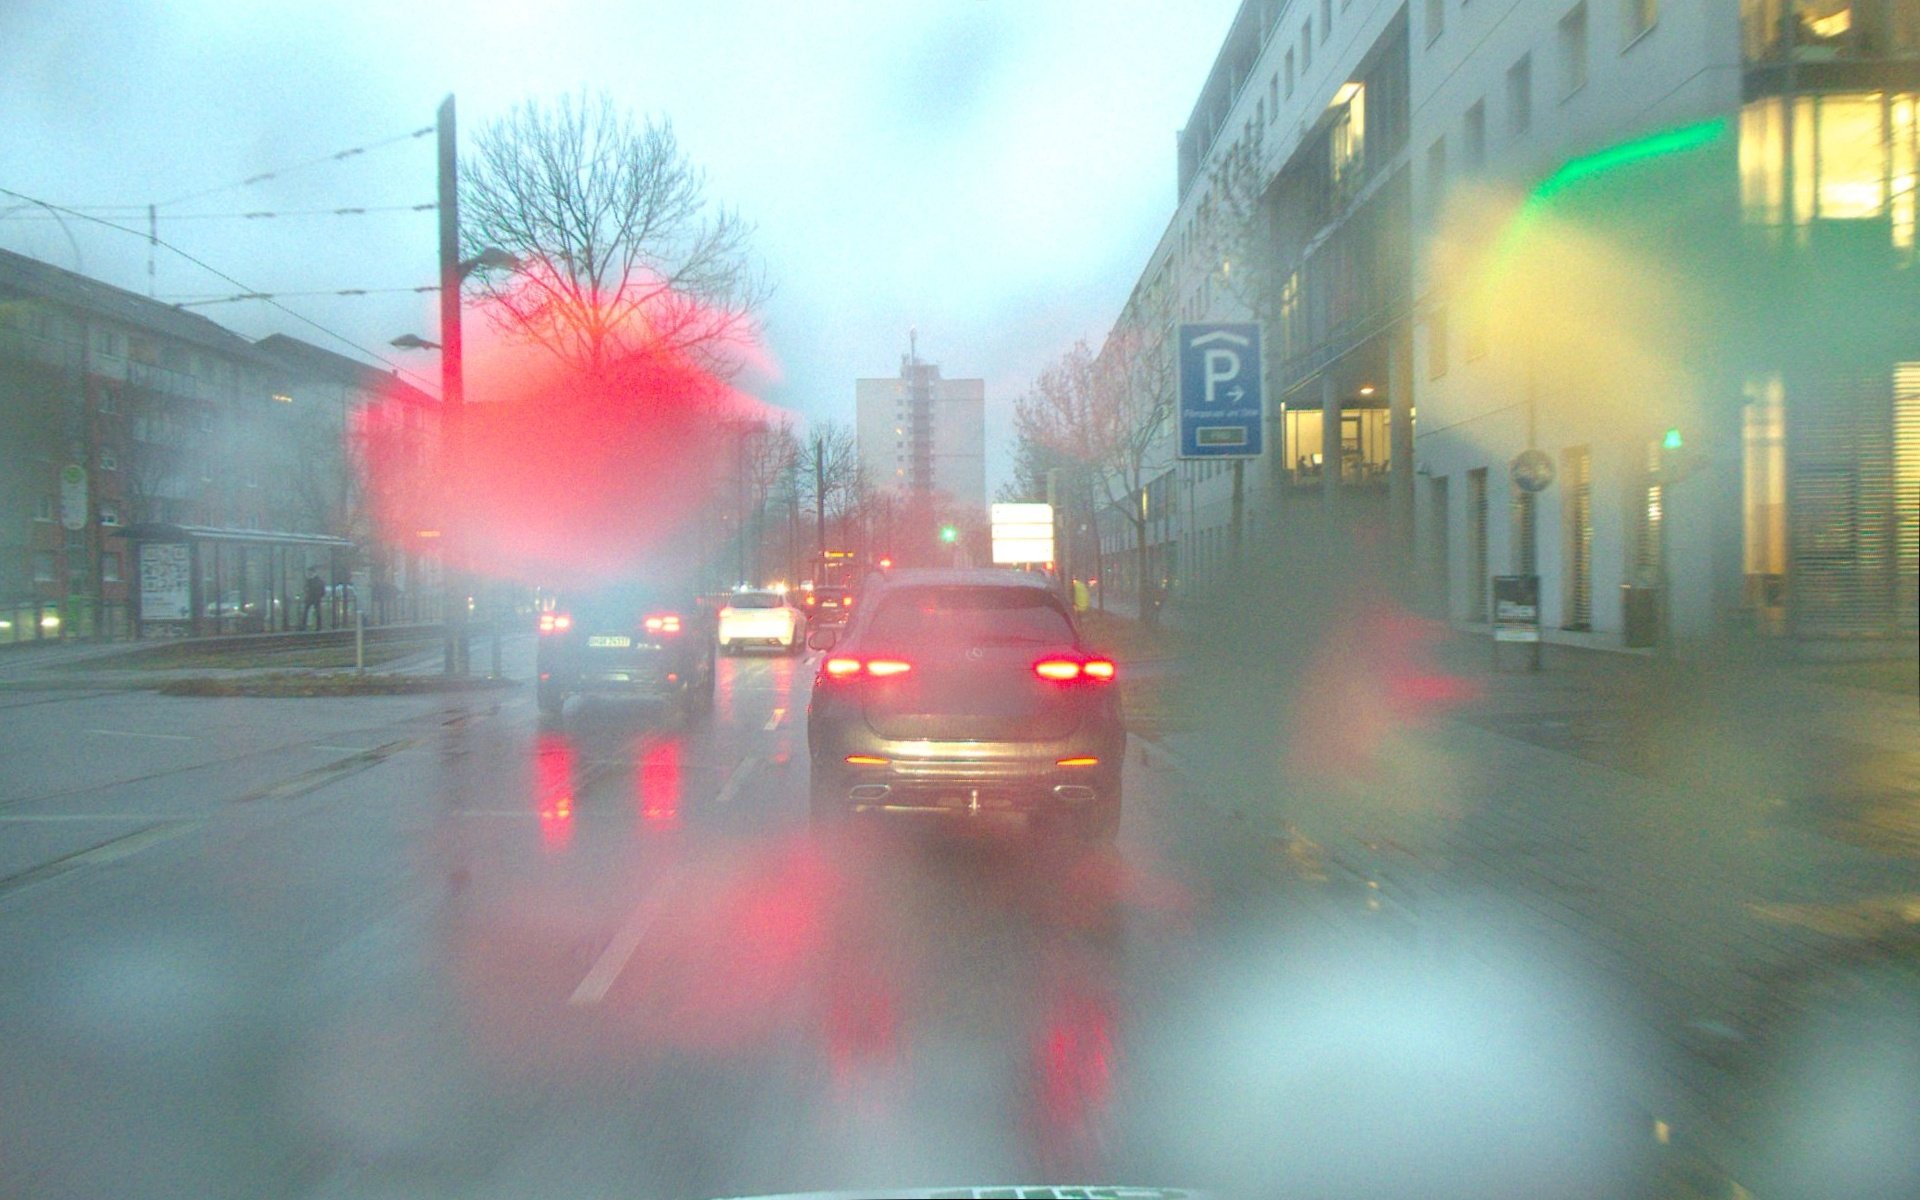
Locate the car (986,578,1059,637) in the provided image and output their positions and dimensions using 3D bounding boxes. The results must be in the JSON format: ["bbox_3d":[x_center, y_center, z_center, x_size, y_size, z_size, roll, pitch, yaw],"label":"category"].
[{"bbox_3d":[1.745,0.199,46.998,1.812,1.582,3.430,1,0,-2],"label":"car"}]

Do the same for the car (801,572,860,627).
[{"bbox_3d":[-4.453,-0.014,57.263,1.628,1.790,3.568,1,0,2],"label":"car"}]

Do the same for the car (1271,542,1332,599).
[{"bbox_3d":[11.262,-0.970,54.734,1.593,1.790,3.424,1,0,5],"label":"car"}]

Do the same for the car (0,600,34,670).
[{"bbox_3d":[-19.721,0.694,32.140,1.415,1.365,3.637,1,0,0],"label":"car"}]

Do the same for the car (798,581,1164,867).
[{"bbox_3d":[0.128,0.666,10.817,1.952,1.509,3.700,1,0,0],"label":"car"}]

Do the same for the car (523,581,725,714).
[{"bbox_3d":[-4.109,0.521,20.851,1.781,1.476,3.999,1,0,-1],"label":"car"}]

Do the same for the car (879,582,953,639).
[{"bbox_3d":[-1.251,0.279,48.698,1.828,1.570,3.612,1,0,3],"label":"car"}]

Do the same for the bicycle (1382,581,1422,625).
[{"bbox_3d":[9.855,0.060,36.873,0.366,0.946,1.077,1,2,-14],"label":"bicycle"}]

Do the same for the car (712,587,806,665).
[{"bbox_3d":[-4.497,0.546,37.436,1.655,1.664,3.474,1,0,0],"label":"car"}]

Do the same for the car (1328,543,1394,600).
[{"bbox_3d":[13.190,-0.912,54.534,1.593,1.790,3.424,1,0,5],"label":"car"}]

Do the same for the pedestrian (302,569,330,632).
[{"bbox_3d":[-17.453,0.005,44.832,0.483,1.685,0.463,1,0,18],"label":"pedestrian"}]

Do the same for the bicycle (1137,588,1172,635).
[{"bbox_3d":[4.160,0.237,35.412,0.534,0.982,1.345,1,0,-2],"label":"bicycle"}]

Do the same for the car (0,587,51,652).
[{"bbox_3d":[-31.895,0.629,54.379,1.954,2.049,3.998,1,0,-3],"label":"car"}]
